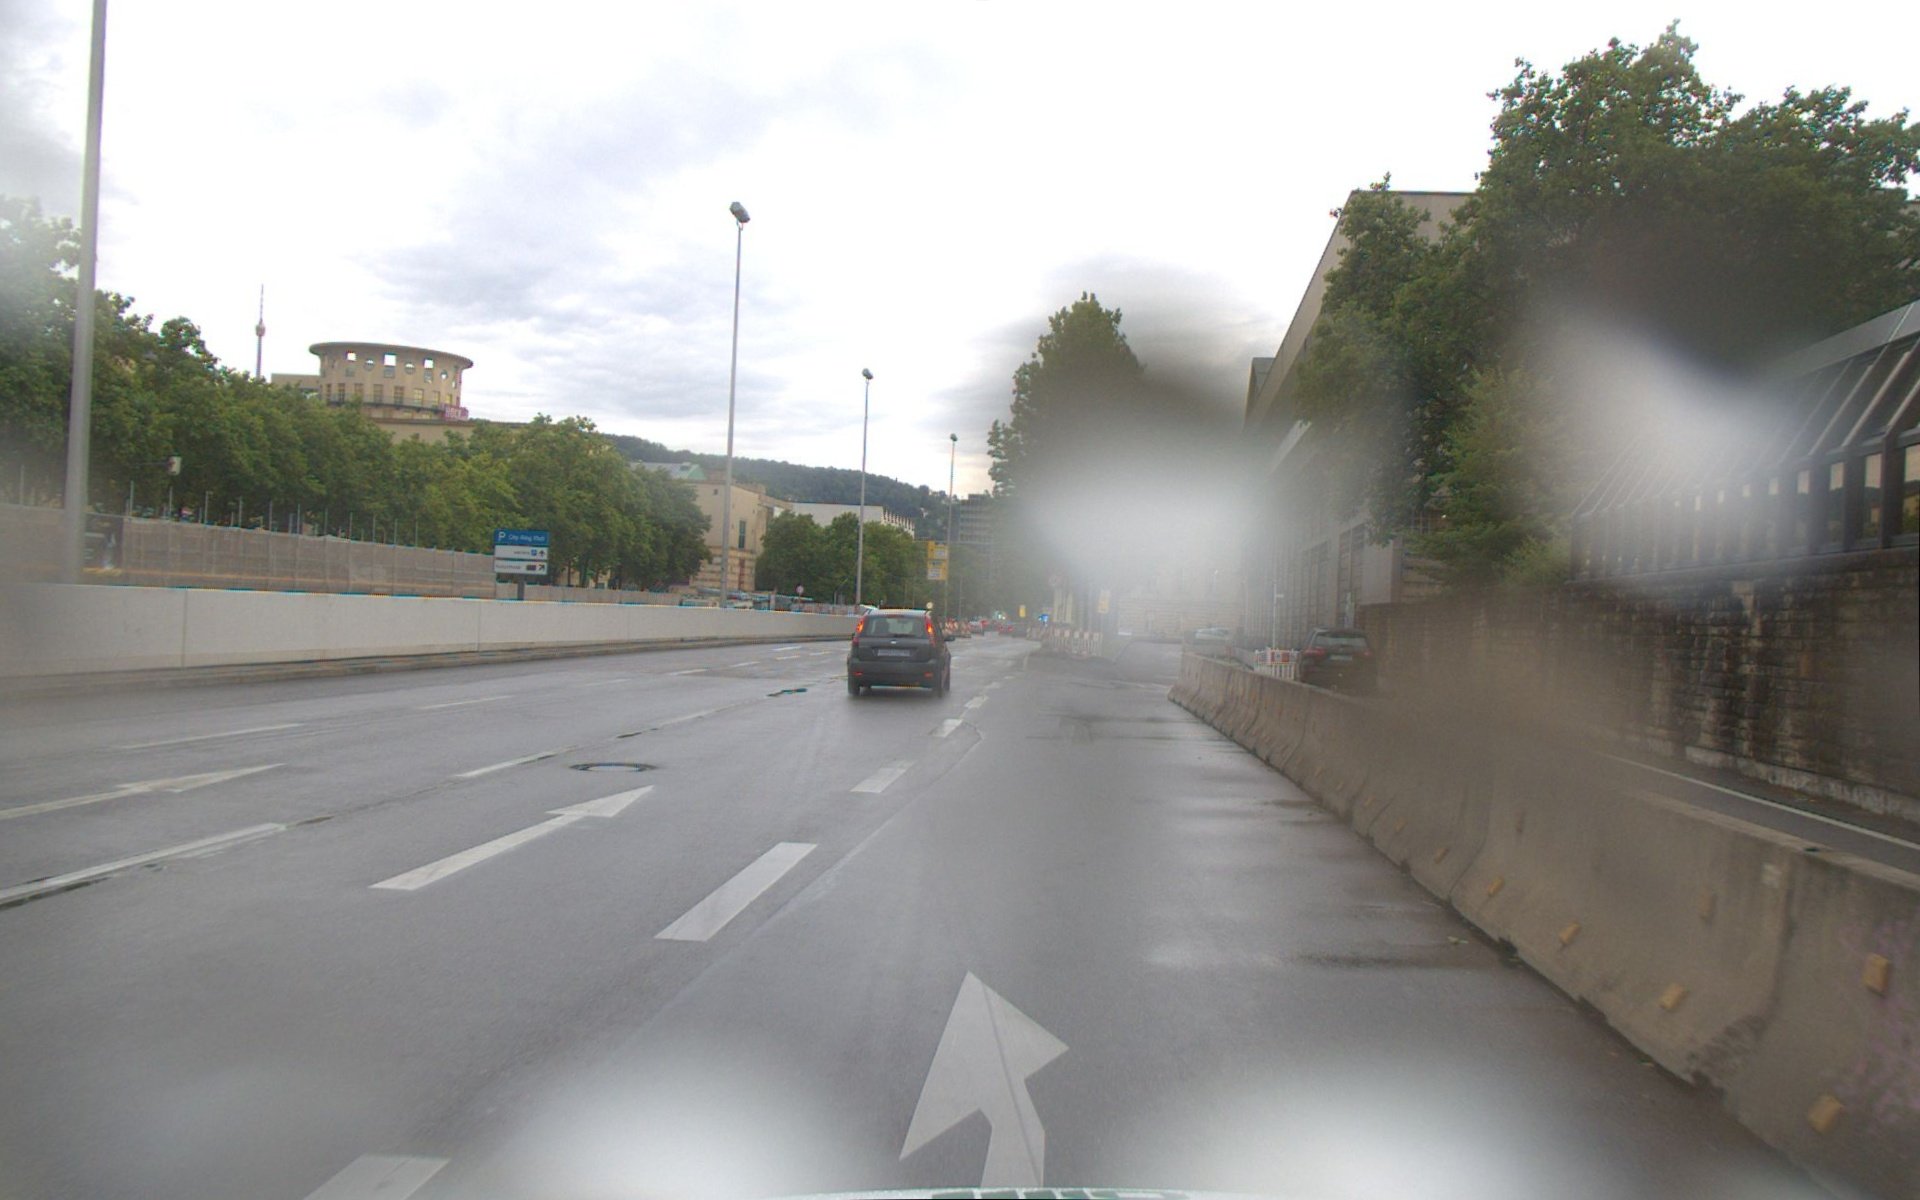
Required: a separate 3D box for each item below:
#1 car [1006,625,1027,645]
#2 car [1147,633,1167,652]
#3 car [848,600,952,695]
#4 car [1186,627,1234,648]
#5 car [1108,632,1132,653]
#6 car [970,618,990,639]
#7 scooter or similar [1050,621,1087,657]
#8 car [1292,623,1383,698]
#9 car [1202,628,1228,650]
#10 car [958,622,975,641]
[{"bbox_3d":[6.156,3.780,179.670,1.952,2.048,4.002,4,0,4],"label":"car"},{"bbox_3d":[20.937,4.514,175.718,1.951,1.738,4.002,4,-2,9],"label":"car"},{"bbox_3d":[-1.035,0.773,28.940,1.636,1.452,3.756,3,0,-2],"label":"car"},{"bbox_3d":[21.045,3.195,139.502,3.903,1.587,1.934,1,-4,5],"label":"car"},{"bbox_3d":[14.981,3.961,154.691,1.951,1.738,4.003,4,0,9],"label":"car"},{"bbox_3d":[2.207,3.148,180.922,1.953,2.049,3.999,5,-3,0],"label":"car"},{"bbox_3d":[4.319,1.540,65.792,1.327,1.308,0.619,4,-3,6],"label":"scooter or similar"},{"bbox_3d":[8.986,1.402,39.653,1.766,1.579,4.329,4,0,9],"label":"car"},{"bbox_3d":[22.701,3.470,147.329,1.951,1.791,5.098,2,-3,5],"label":"car"},{"bbox_3d":[0.539,2.605,136.055,1.357,1.411,3.066,2,-2,0],"label":"car"}]
